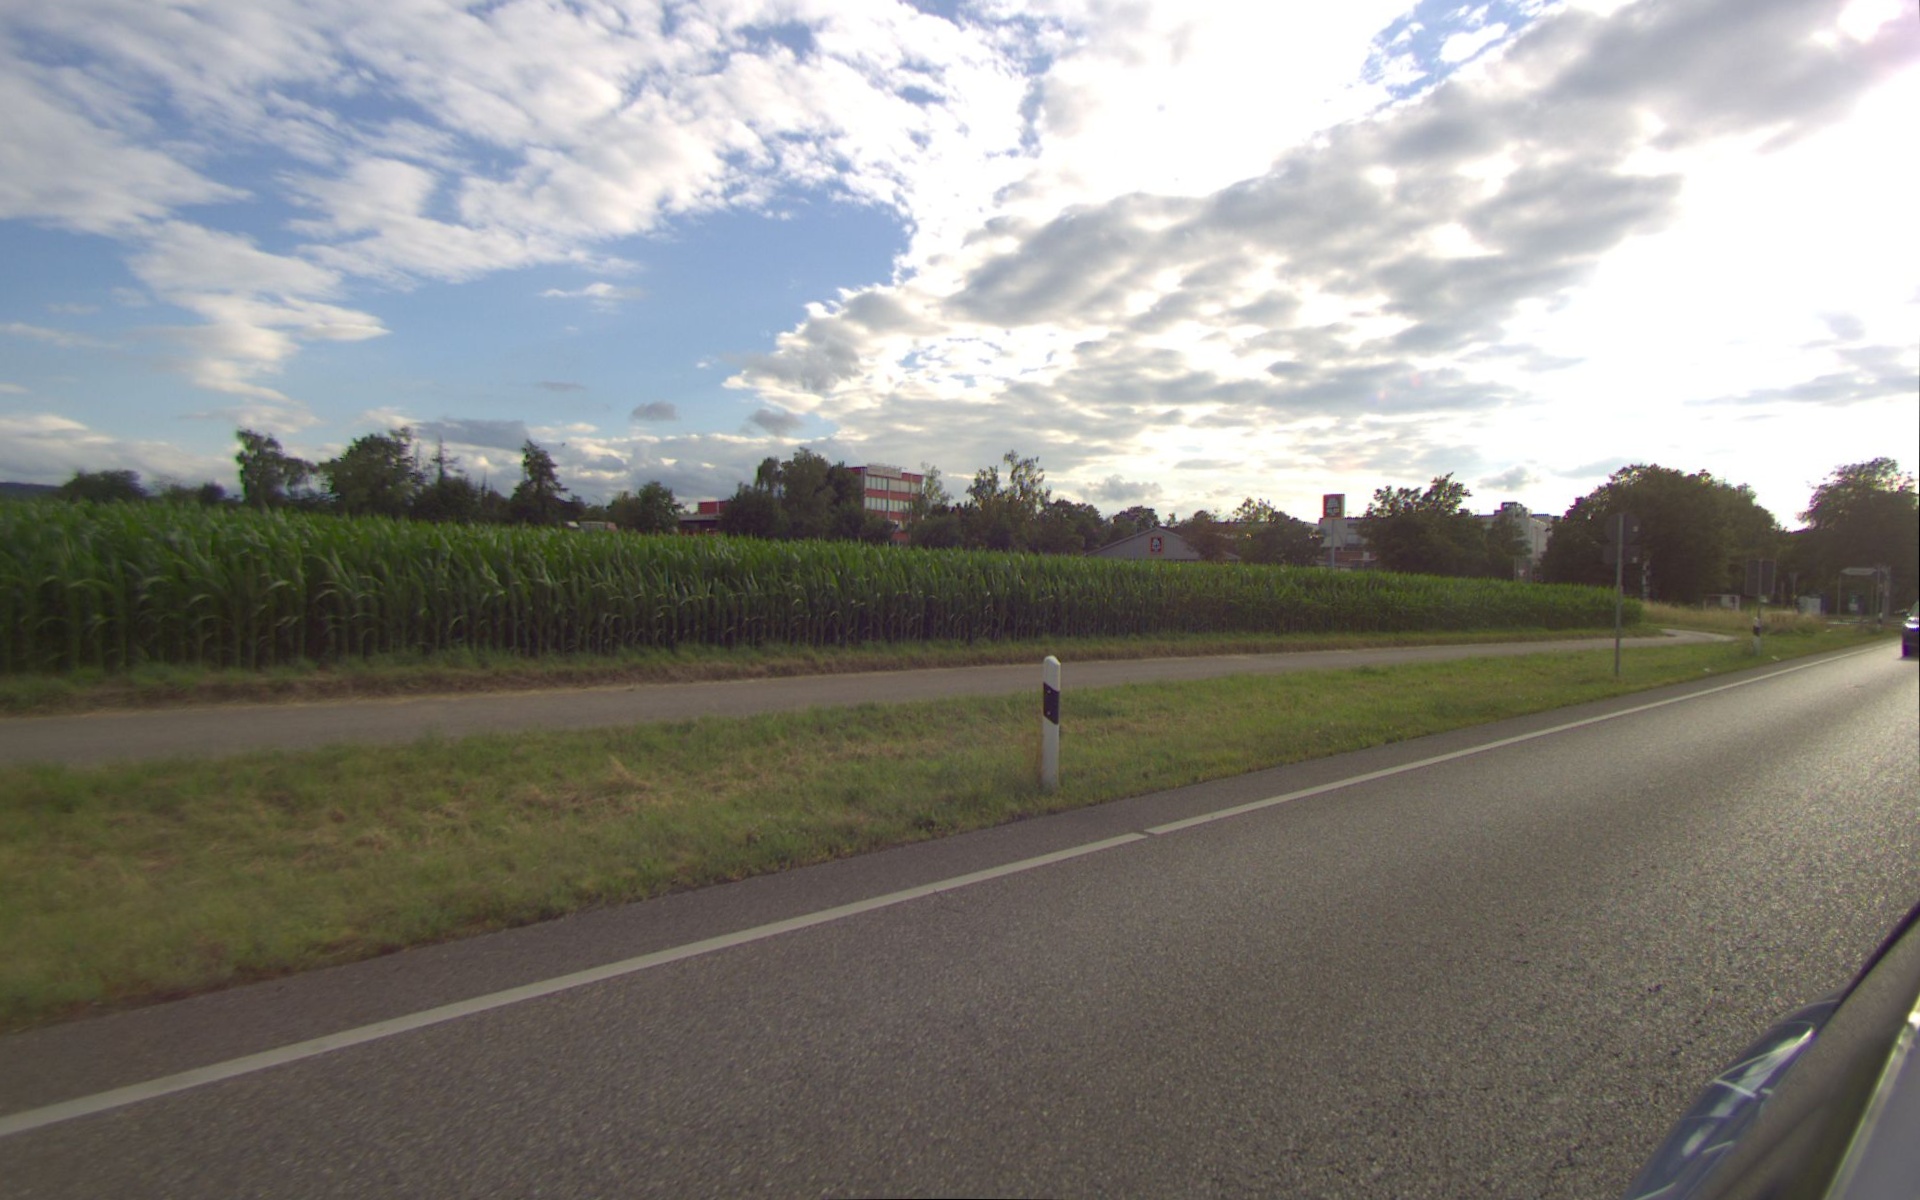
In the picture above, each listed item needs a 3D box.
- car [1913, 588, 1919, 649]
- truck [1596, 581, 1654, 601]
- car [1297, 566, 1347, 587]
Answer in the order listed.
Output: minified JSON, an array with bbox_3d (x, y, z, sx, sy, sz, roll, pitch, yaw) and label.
[{"bbox_3d":[28.261,0.493,28.462,4.405,1.671,1.846,0,0,-43],"label":"car"},{"bbox_3d":[67.734,-0.903,103.162,4.599,2.022,1.817,0,0,13],"label":"truck"},{"bbox_3d":[36.520,-2.405,102.165,1.929,1.906,4.296,0,4,-44],"label":"car"}]
